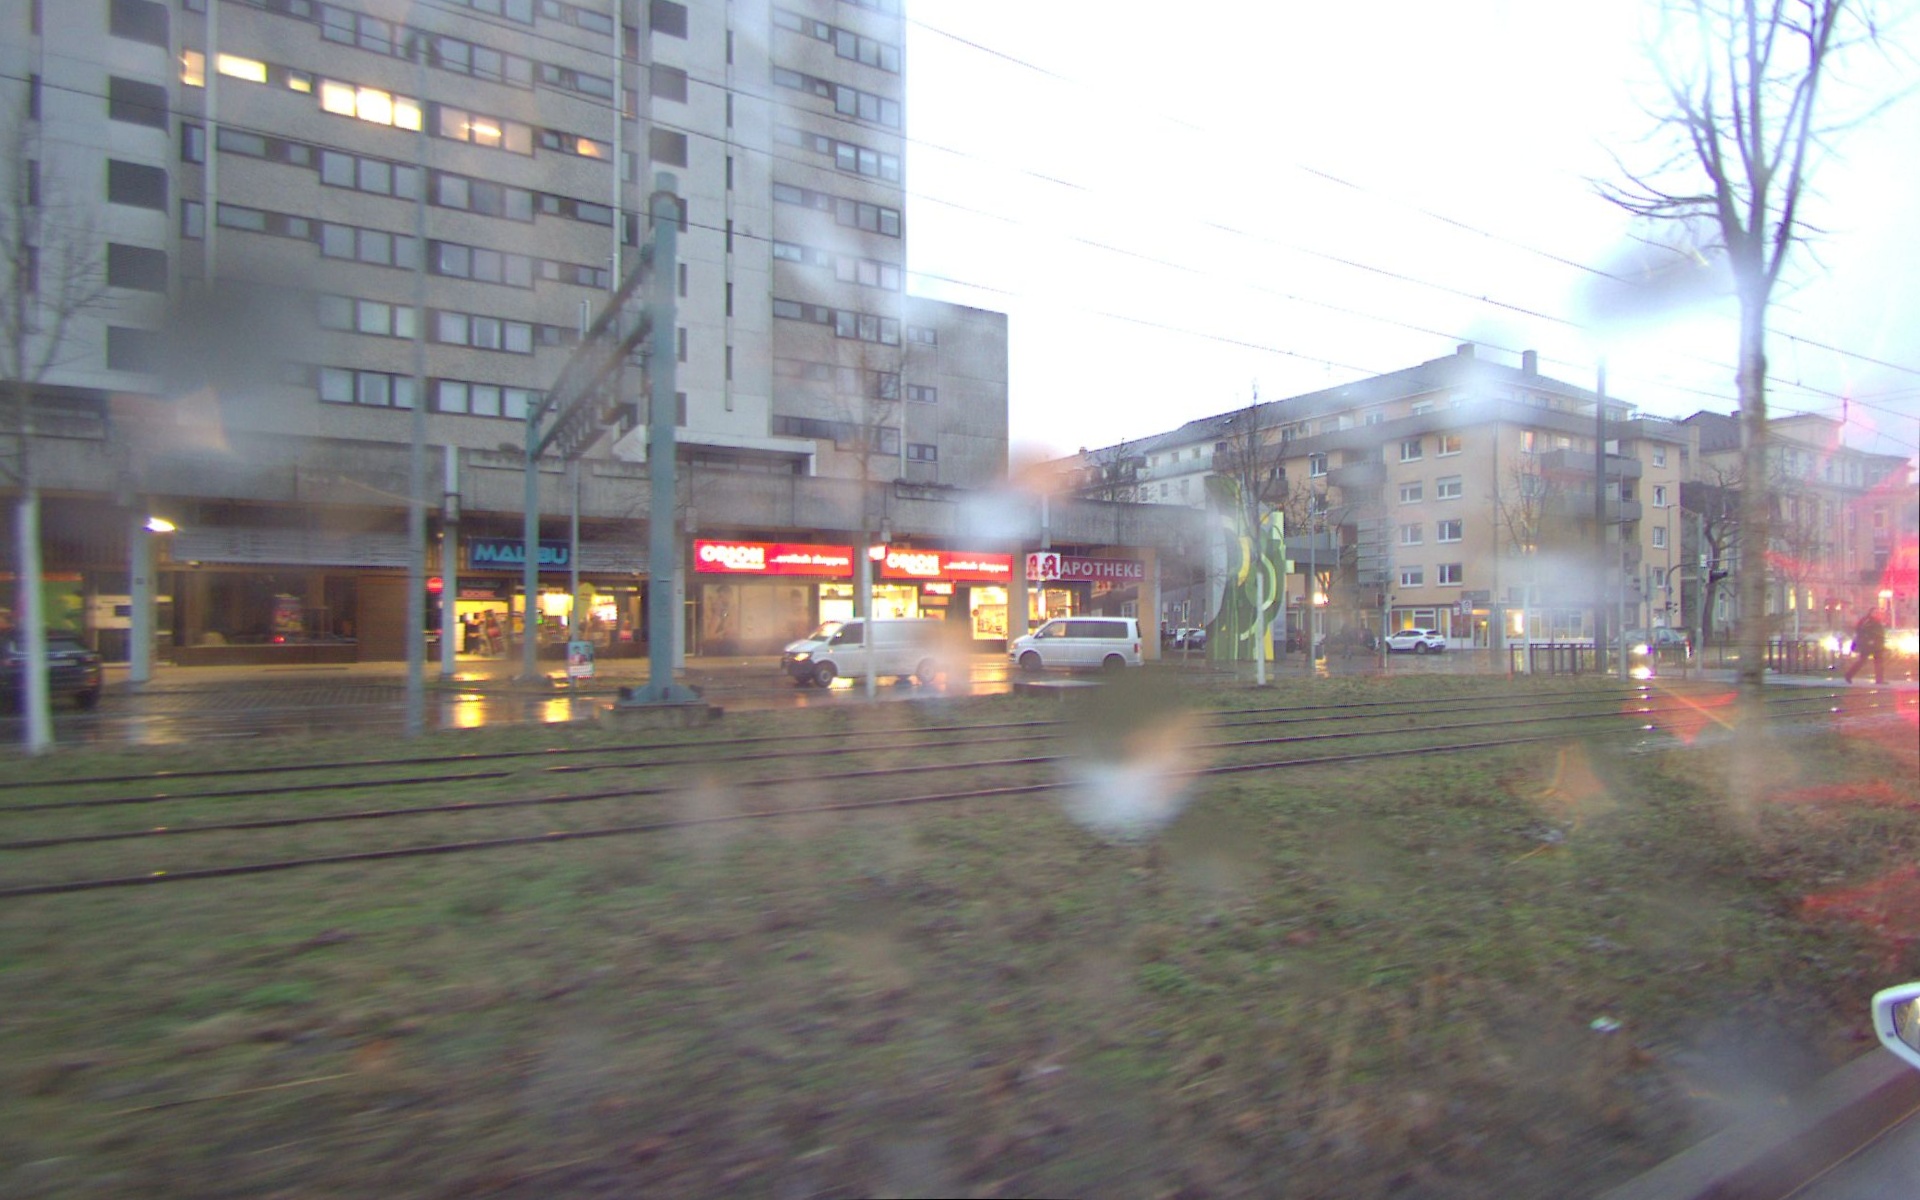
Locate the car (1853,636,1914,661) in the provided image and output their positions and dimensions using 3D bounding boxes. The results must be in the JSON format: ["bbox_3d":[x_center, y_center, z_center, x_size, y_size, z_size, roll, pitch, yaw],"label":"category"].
[{"bbox_3d":[49.325,2.565,53.637,4.108,1.294,1.679,1,-1,-36],"label":"car"}]

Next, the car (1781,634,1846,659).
[{"bbox_3d":[47.054,2.540,55.355,3.494,1.294,1.683,1,-1,-30],"label":"car"}]

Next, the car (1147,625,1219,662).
[{"bbox_3d":[12.995,2.532,58.500,3.829,2.040,1.884,1,0,-30],"label":"car"}]

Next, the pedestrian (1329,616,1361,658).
[{"bbox_3d":[18.989,1.832,49.500,1.253,2.040,1.004,-1,-1,37],"label":"pedestrian"}]

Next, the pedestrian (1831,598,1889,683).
[{"bbox_3d":[22.251,0.989,24.855,0.992,2.040,0.958,-1,-1,38],"label":"pedestrian"}]

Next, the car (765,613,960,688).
[{"bbox_3d":[-2.908,1.499,30.306,5.490,2.073,1.987,1,0,-26],"label":"car"}]

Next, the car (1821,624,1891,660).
[{"bbox_3d":[53.394,2.487,59.837,3.953,2.040,1.984,1,0,-31],"label":"car"}]

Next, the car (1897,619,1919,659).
[{"bbox_3d":[41.370,1.682,42.130,3.954,1.624,1.983,1,0,-31],"label":"car"}]

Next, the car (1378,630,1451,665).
[{"bbox_3d":[28.441,2.947,62.976,1.825,1.968,3.720,1,0,-37],"label":"car"}]

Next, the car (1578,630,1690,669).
[{"bbox_3d":[25.606,1.857,38.115,4.265,1.350,1.850,1,0,-30],"label":"car"}]

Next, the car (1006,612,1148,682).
[{"bbox_3d":[4.216,1.623,35.963,4.734,2.274,2.001,2,0,15],"label":"car"}]

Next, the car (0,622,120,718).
[{"bbox_3d":[-20.183,1.417,21.523,4.067,1.716,1.982,2,0,28],"label":"car"}]
